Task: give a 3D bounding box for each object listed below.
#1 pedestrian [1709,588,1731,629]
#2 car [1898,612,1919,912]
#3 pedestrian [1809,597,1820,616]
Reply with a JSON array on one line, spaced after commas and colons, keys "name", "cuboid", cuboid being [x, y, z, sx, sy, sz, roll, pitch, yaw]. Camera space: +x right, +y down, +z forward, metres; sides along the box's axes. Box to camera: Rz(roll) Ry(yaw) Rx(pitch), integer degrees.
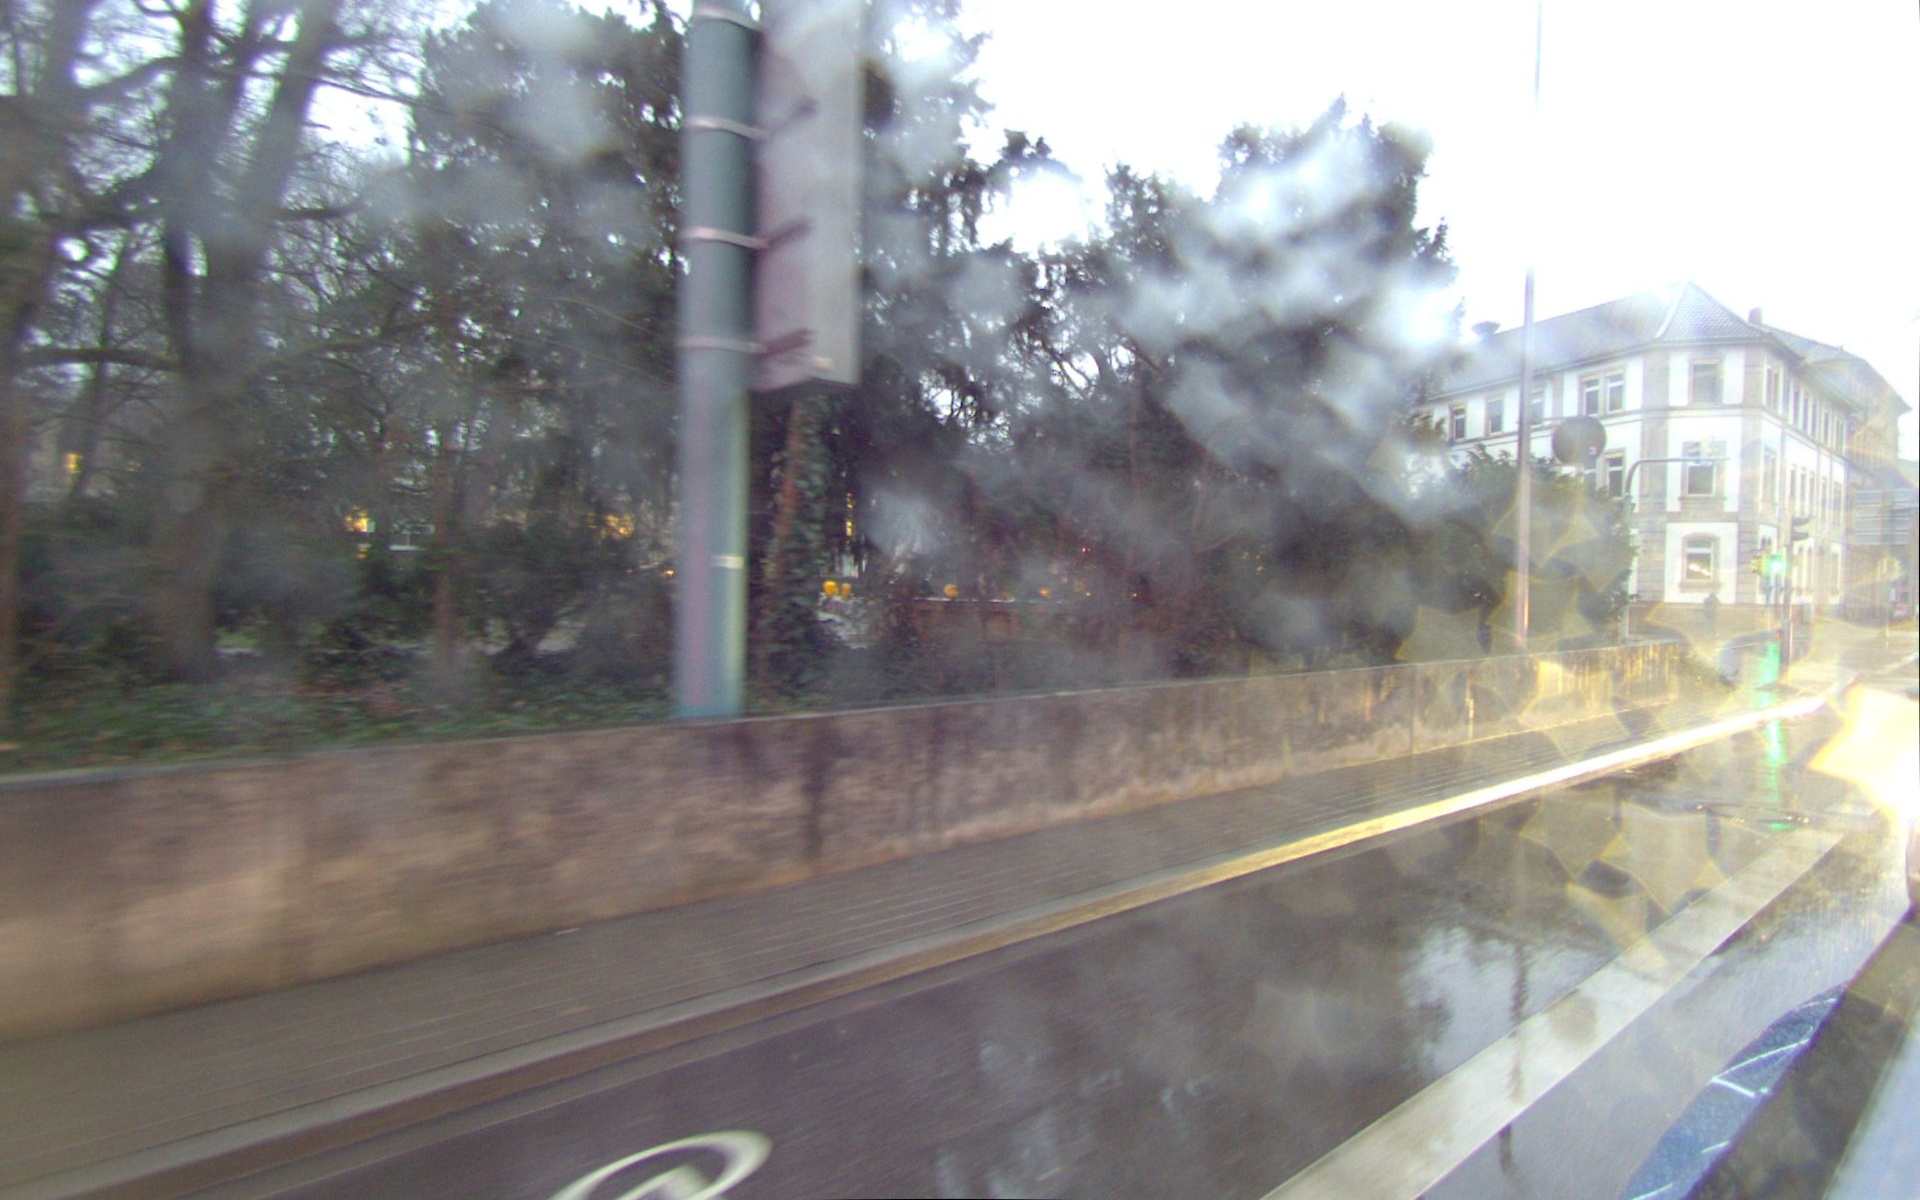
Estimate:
[{"name": "pedestrian", "cuboid": [28.775, 0.305, 38.321, 0.515, 1.529, 0.583, 1, 1, 23]}, {"name": "car", "cuboid": [6.495, 0.753, 5.405, 3.912, 1.388, 1.796, -1, 0, -41]}, {"name": "pedestrian", "cuboid": [42.061, 0.311, 49.810, 0.370, 0.917, 0.325, 0, 1, -41]}]
